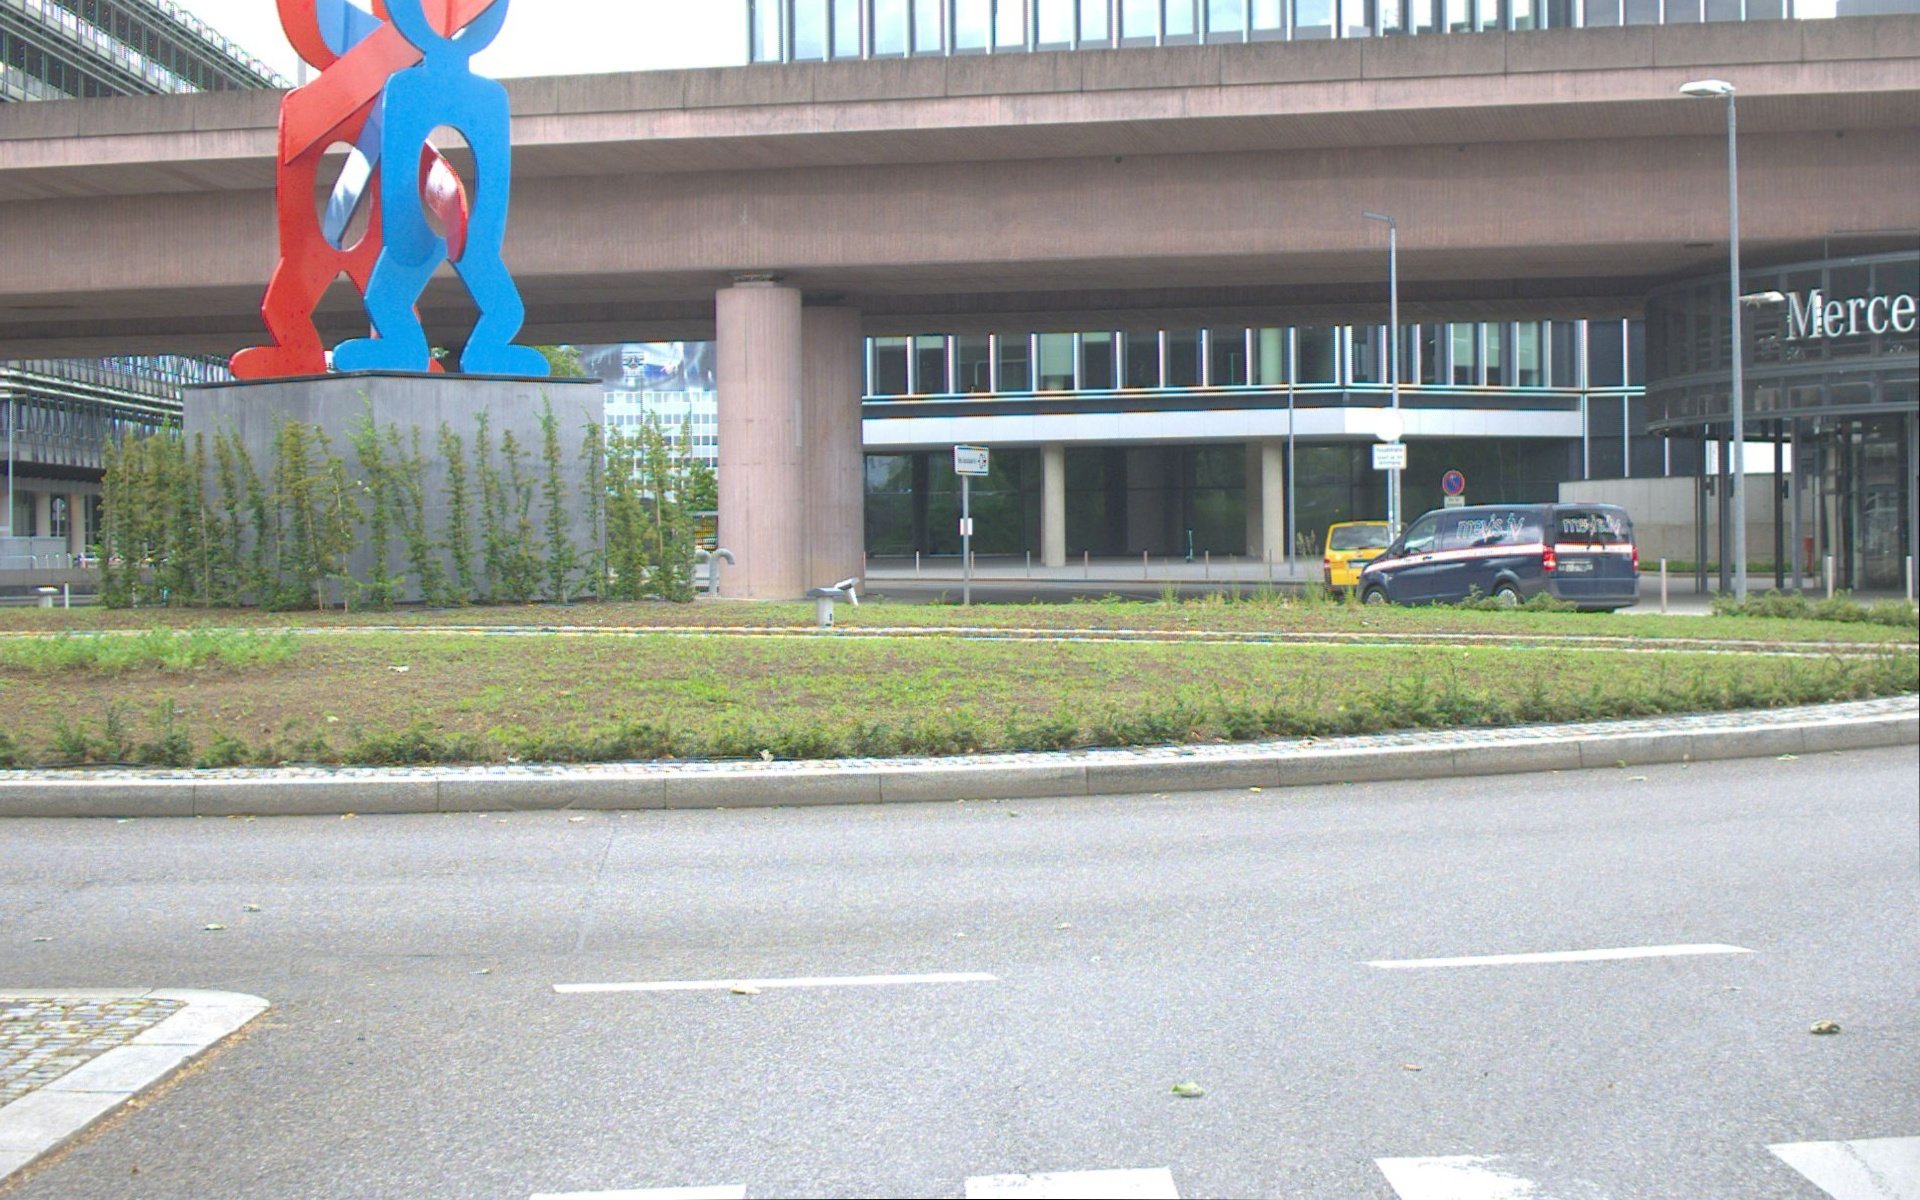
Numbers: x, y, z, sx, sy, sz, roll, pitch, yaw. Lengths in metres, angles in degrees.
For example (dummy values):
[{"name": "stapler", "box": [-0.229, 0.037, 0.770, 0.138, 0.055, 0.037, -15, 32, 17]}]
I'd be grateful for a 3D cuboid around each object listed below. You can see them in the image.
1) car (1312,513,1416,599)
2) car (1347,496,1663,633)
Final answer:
[{"name": "car", "box": [9.727, -1.040, 82.510, 1.995, 2.007, 3.998, 0, 0, 14]}, {"name": "car", "box": [8.331, -0.547, 53.005, 2.276, 2.007, 4.784, 0, 1, -30]}]
